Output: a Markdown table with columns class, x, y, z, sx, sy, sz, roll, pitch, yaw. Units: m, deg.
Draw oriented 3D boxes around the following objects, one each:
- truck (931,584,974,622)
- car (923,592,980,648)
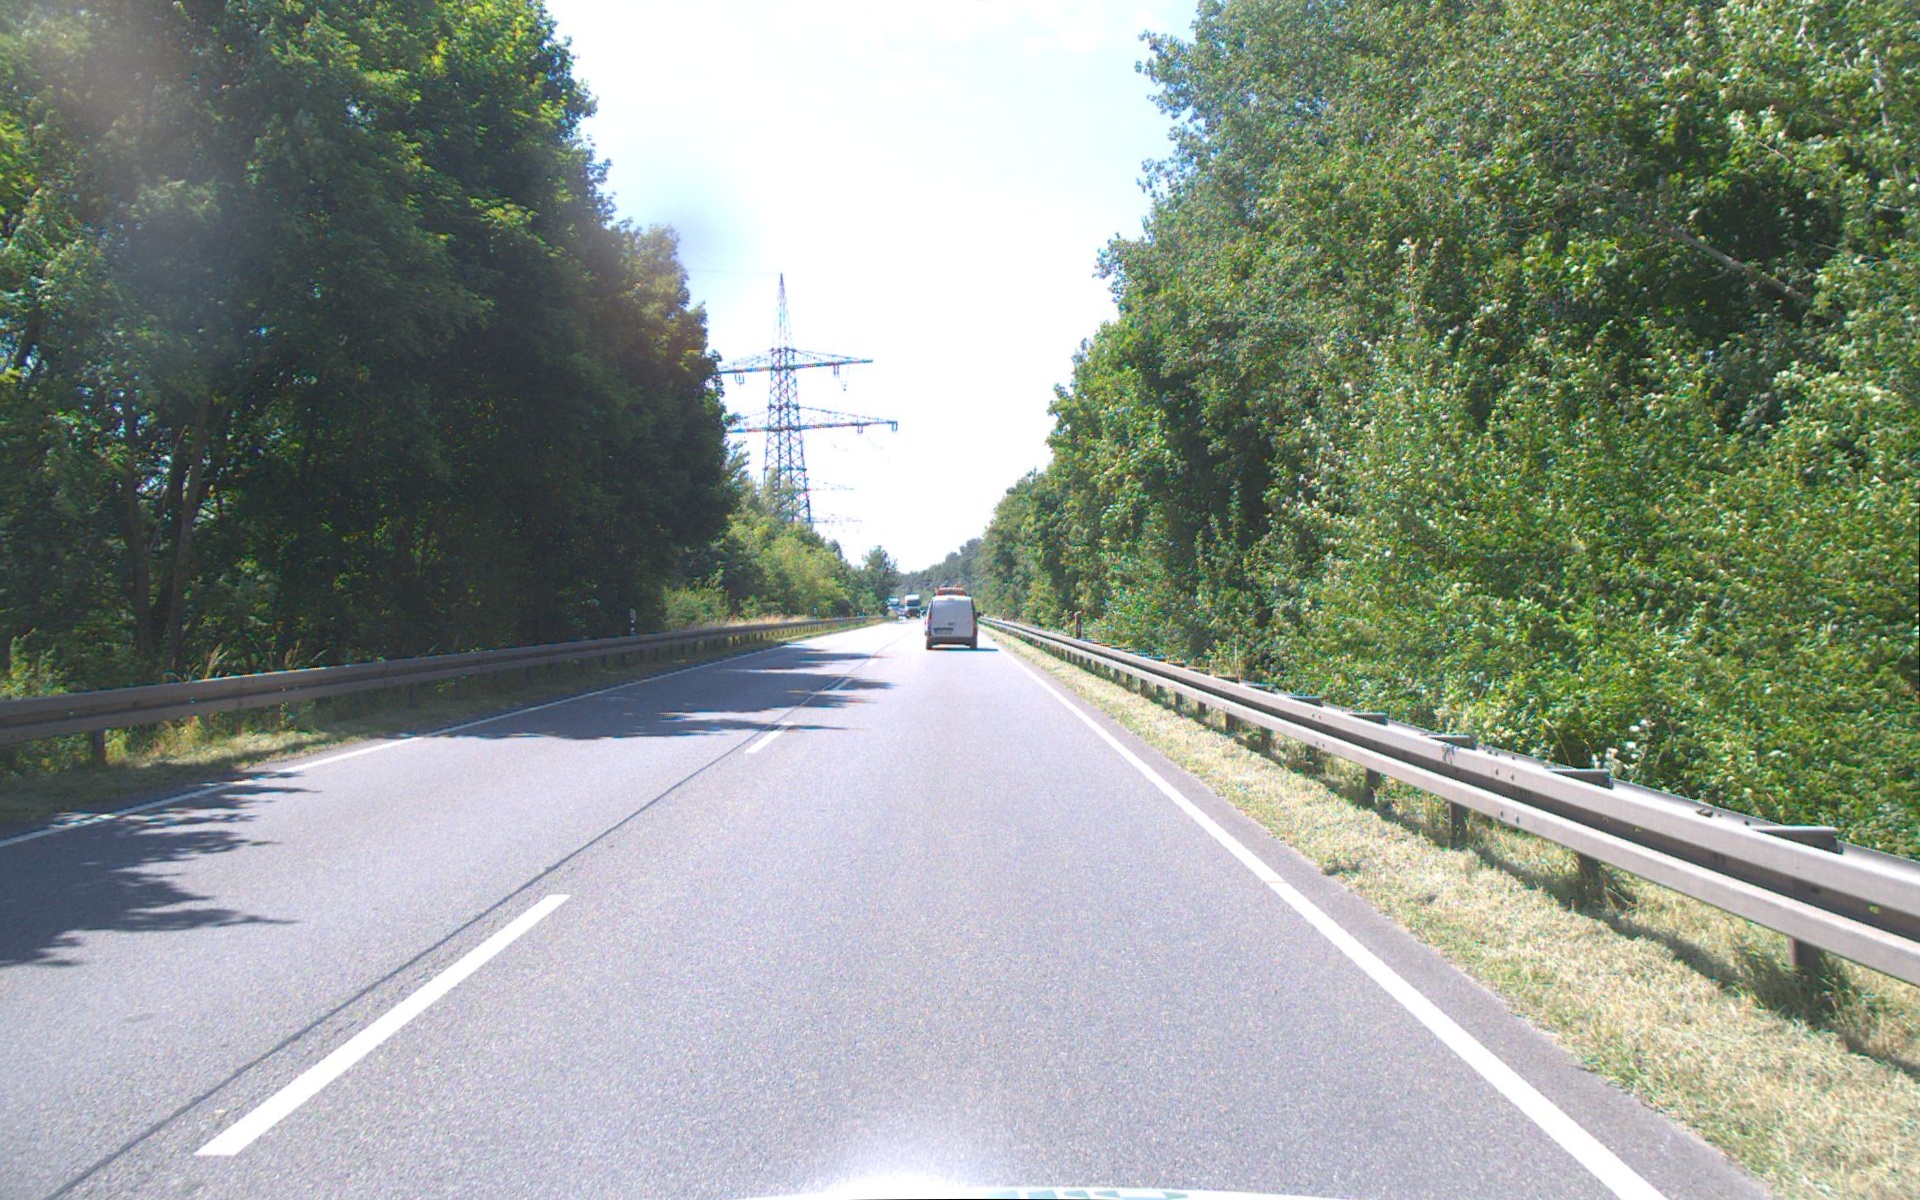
| class | x | y | z | sx | sy | sz | roll | pitch | yaw |
| --- | --- | --- | --- | --- | --- | --- | --- | --- | --- |
| truck | -0.782 | 0.146 | 149.660 | 3.231 | 3.227 | 14.397 | 1 | 1 | -3 |
| car | -0.309 | 0.651 | 56.156 | 1.837 | 1.772 | 3.999 | 1 | 1 | -1 |
